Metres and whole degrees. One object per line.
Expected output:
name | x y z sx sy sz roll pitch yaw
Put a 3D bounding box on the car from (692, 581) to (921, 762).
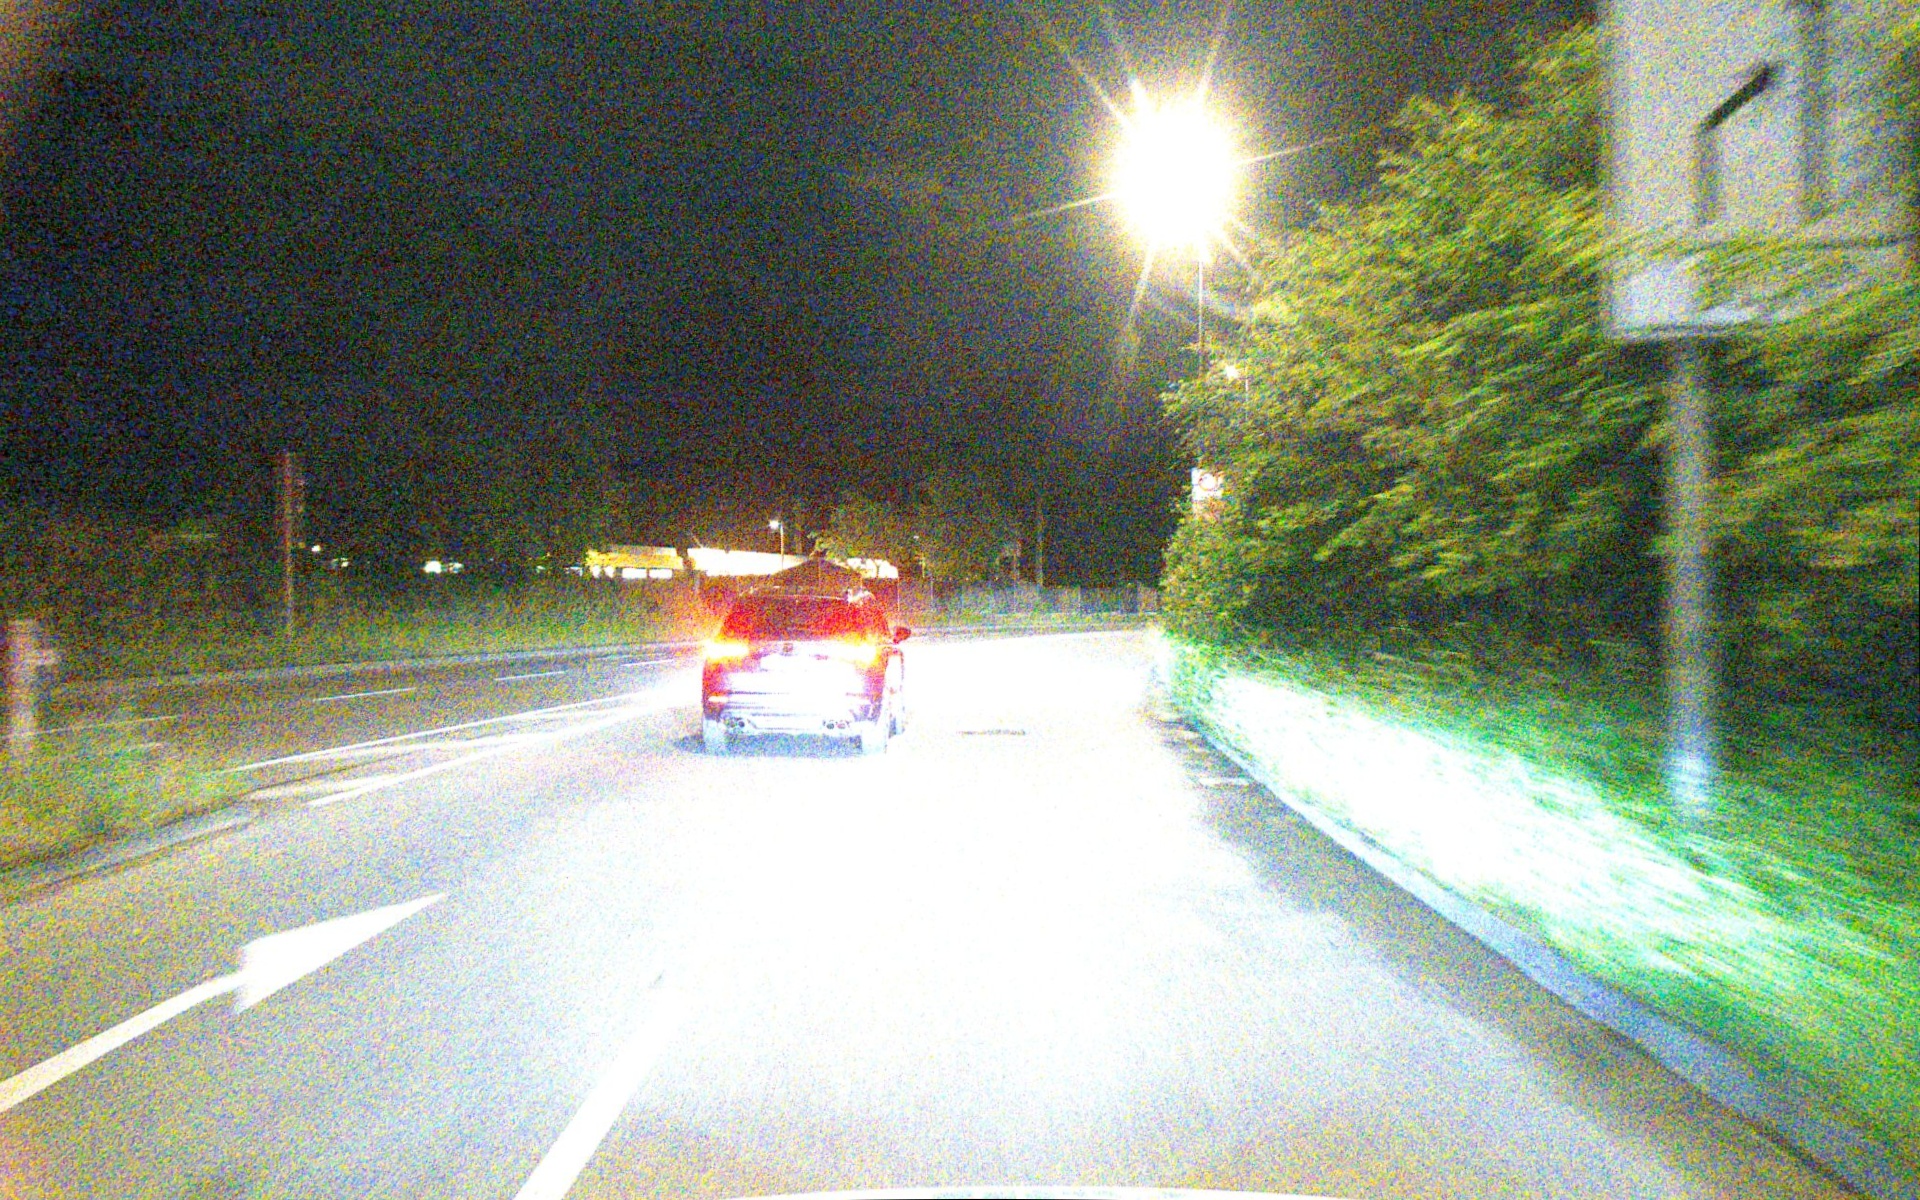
car | -1.439 0.642 16.982 1.813 1.610 4.008 1 0 2
